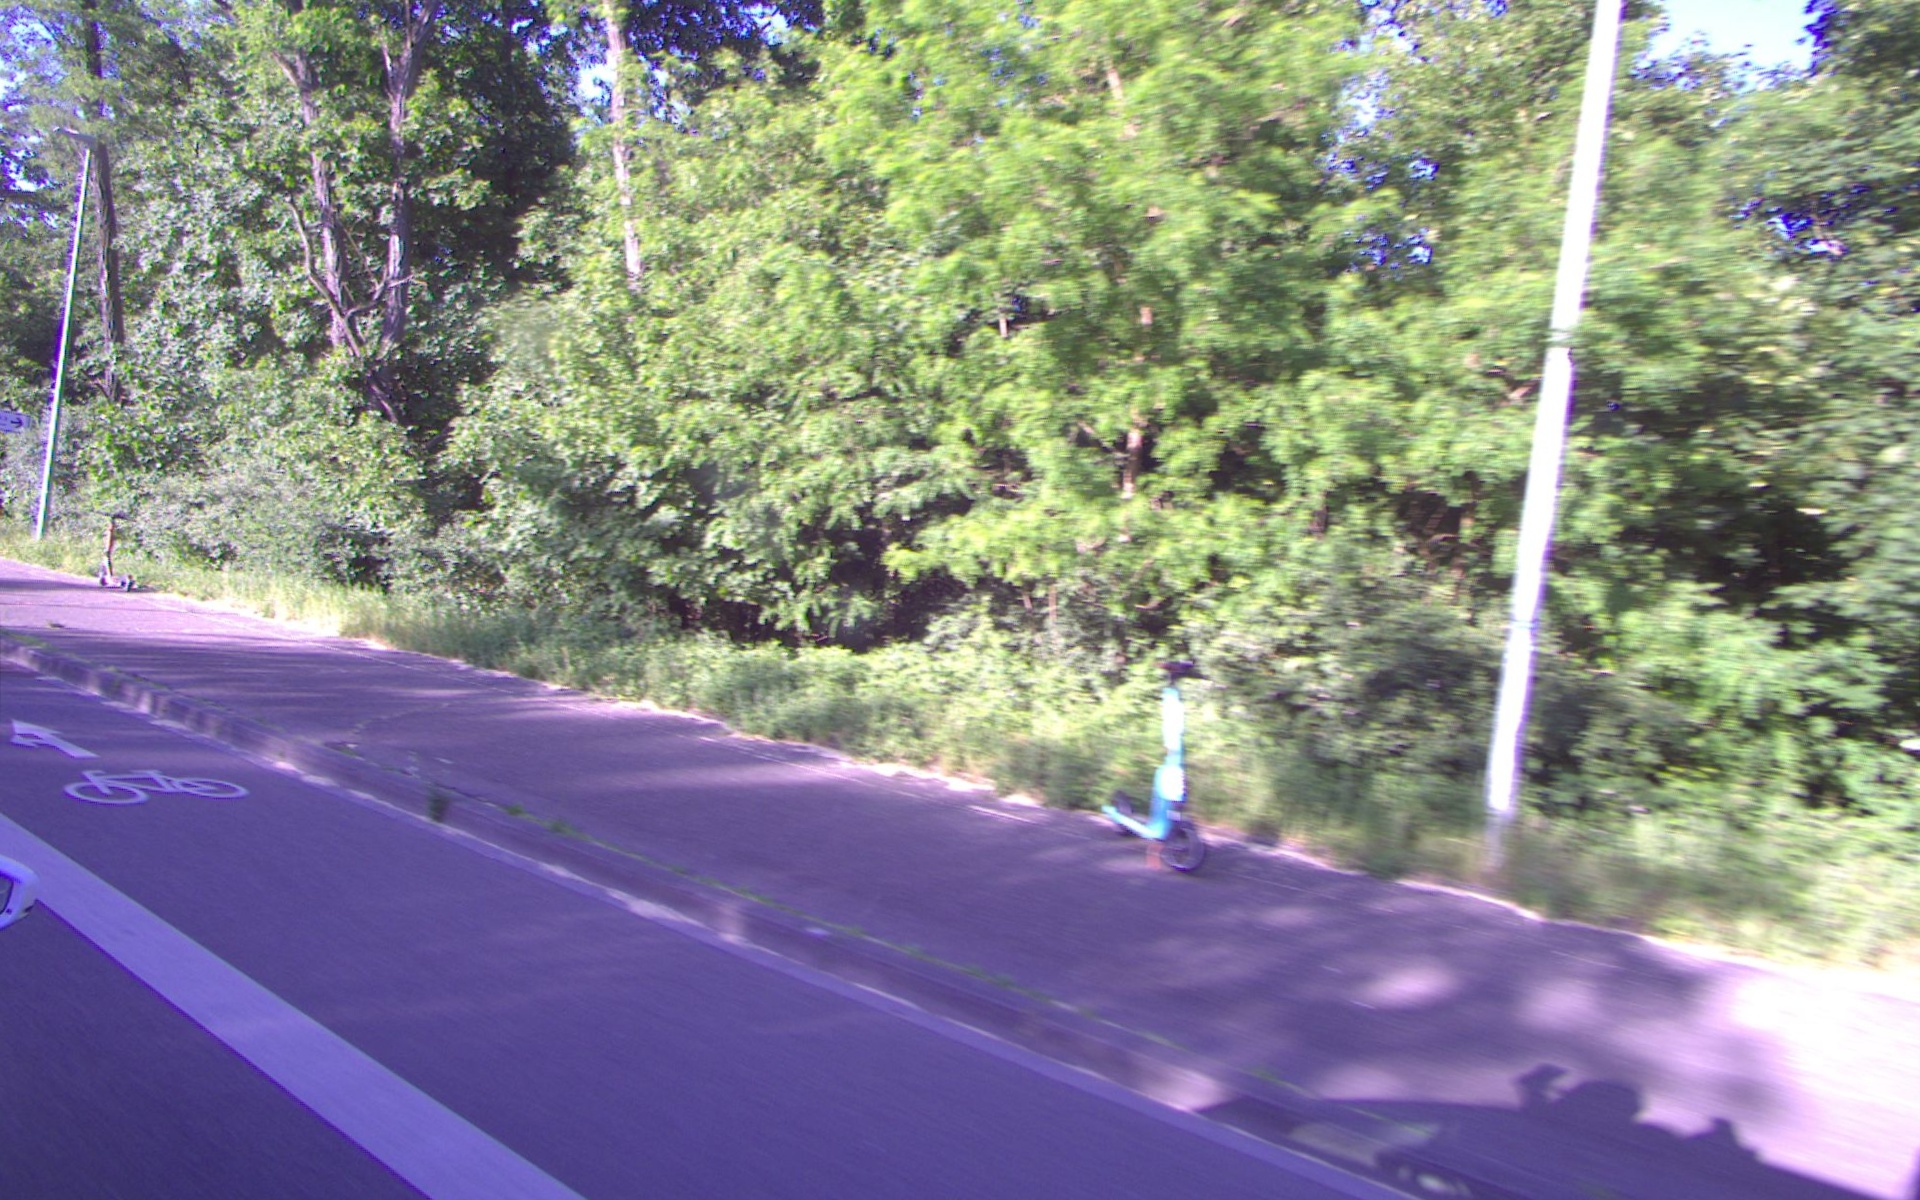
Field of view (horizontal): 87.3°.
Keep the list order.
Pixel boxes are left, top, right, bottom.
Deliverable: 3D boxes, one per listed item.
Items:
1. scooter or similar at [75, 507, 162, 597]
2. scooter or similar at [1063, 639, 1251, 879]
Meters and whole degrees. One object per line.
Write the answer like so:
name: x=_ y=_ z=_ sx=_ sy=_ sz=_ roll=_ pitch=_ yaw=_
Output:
scooter or similar: x=-13.450 y=-0.776 z=16.063 sx=1.515 sy=1.266 sz=0.533 roll=7 pitch=1 yaw=32
scooter or similar: x=1.219 y=0.955 z=6.561 sx=0.526 sy=1.265 sz=1.537 roll=6 pitch=1 yaw=-11
